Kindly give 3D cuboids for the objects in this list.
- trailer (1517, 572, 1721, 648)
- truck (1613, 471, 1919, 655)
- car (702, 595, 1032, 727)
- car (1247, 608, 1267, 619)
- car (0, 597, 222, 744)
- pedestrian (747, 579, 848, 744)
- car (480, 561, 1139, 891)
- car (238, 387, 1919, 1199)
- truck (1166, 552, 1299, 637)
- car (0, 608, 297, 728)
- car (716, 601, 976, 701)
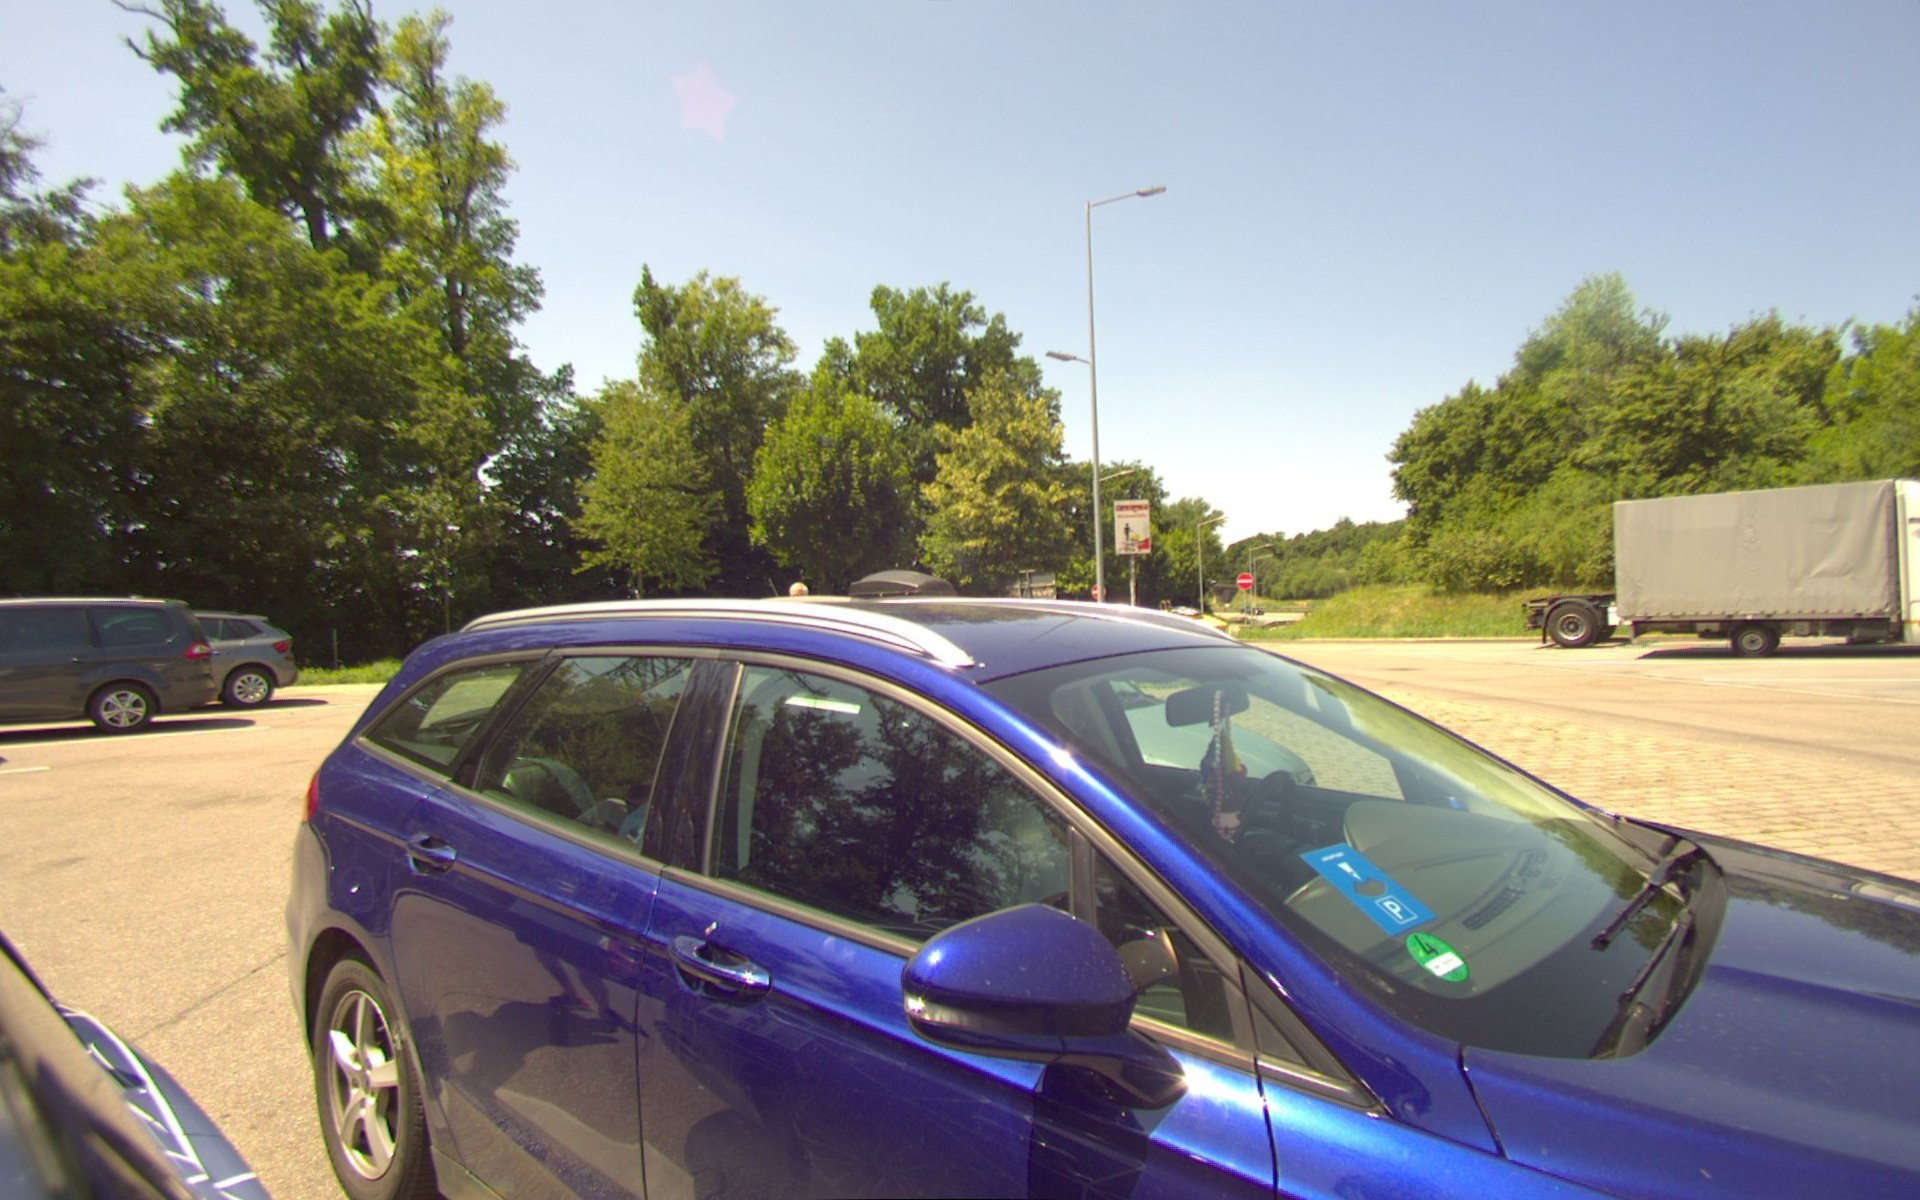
[{"bbox_3d":[15.779,0.276,24.338,3.900,1.674,1.456,-2,-1,41],"label":"trailer"},{"bbox_3d":[16.761,-0.620,18.878,7.348,3.152,2.339,-3,-2,41],"label":"truck"},{"bbox_3d":[-1.368,0.759,13.541,4.466,1.476,1.756,-3,-1,40],"label":"car"},{"bbox_3d":[51.723,2.317,176.373,2.007,1.874,4.003,-1,-1,-3],"label":"car"},{"bbox_3d":[-11.691,0.851,12.565,3.910,1.701,1.782,-1,-1,-43],"label":"car"},{"bbox_3d":[-1.674,0.612,10.412,0.759,1.614,0.663,-3,-1,41],"label":"pedestrian"},{"bbox_3d":[-1.241,0.632,6.655,4.466,1.476,1.756,-3,-1,40],"label":"car"},{"bbox_3d":[0.232,0.632,2.109,4.466,1.476,1.756,-3,-1,40],"label":"car"},{"bbox_3d":[12.814,-0.225,47.617,5.782,3.720,1.987,-2,-1,20],"label":"truck"},{"bbox_3d":[-12.719,0.976,15.616,3.910,1.598,1.782,-1,-1,-43],"label":"car"},{"bbox_3d":[-2.020,0.831,17.094,4.466,1.476,1.756,-3,-1,40],"label":"car"}]
